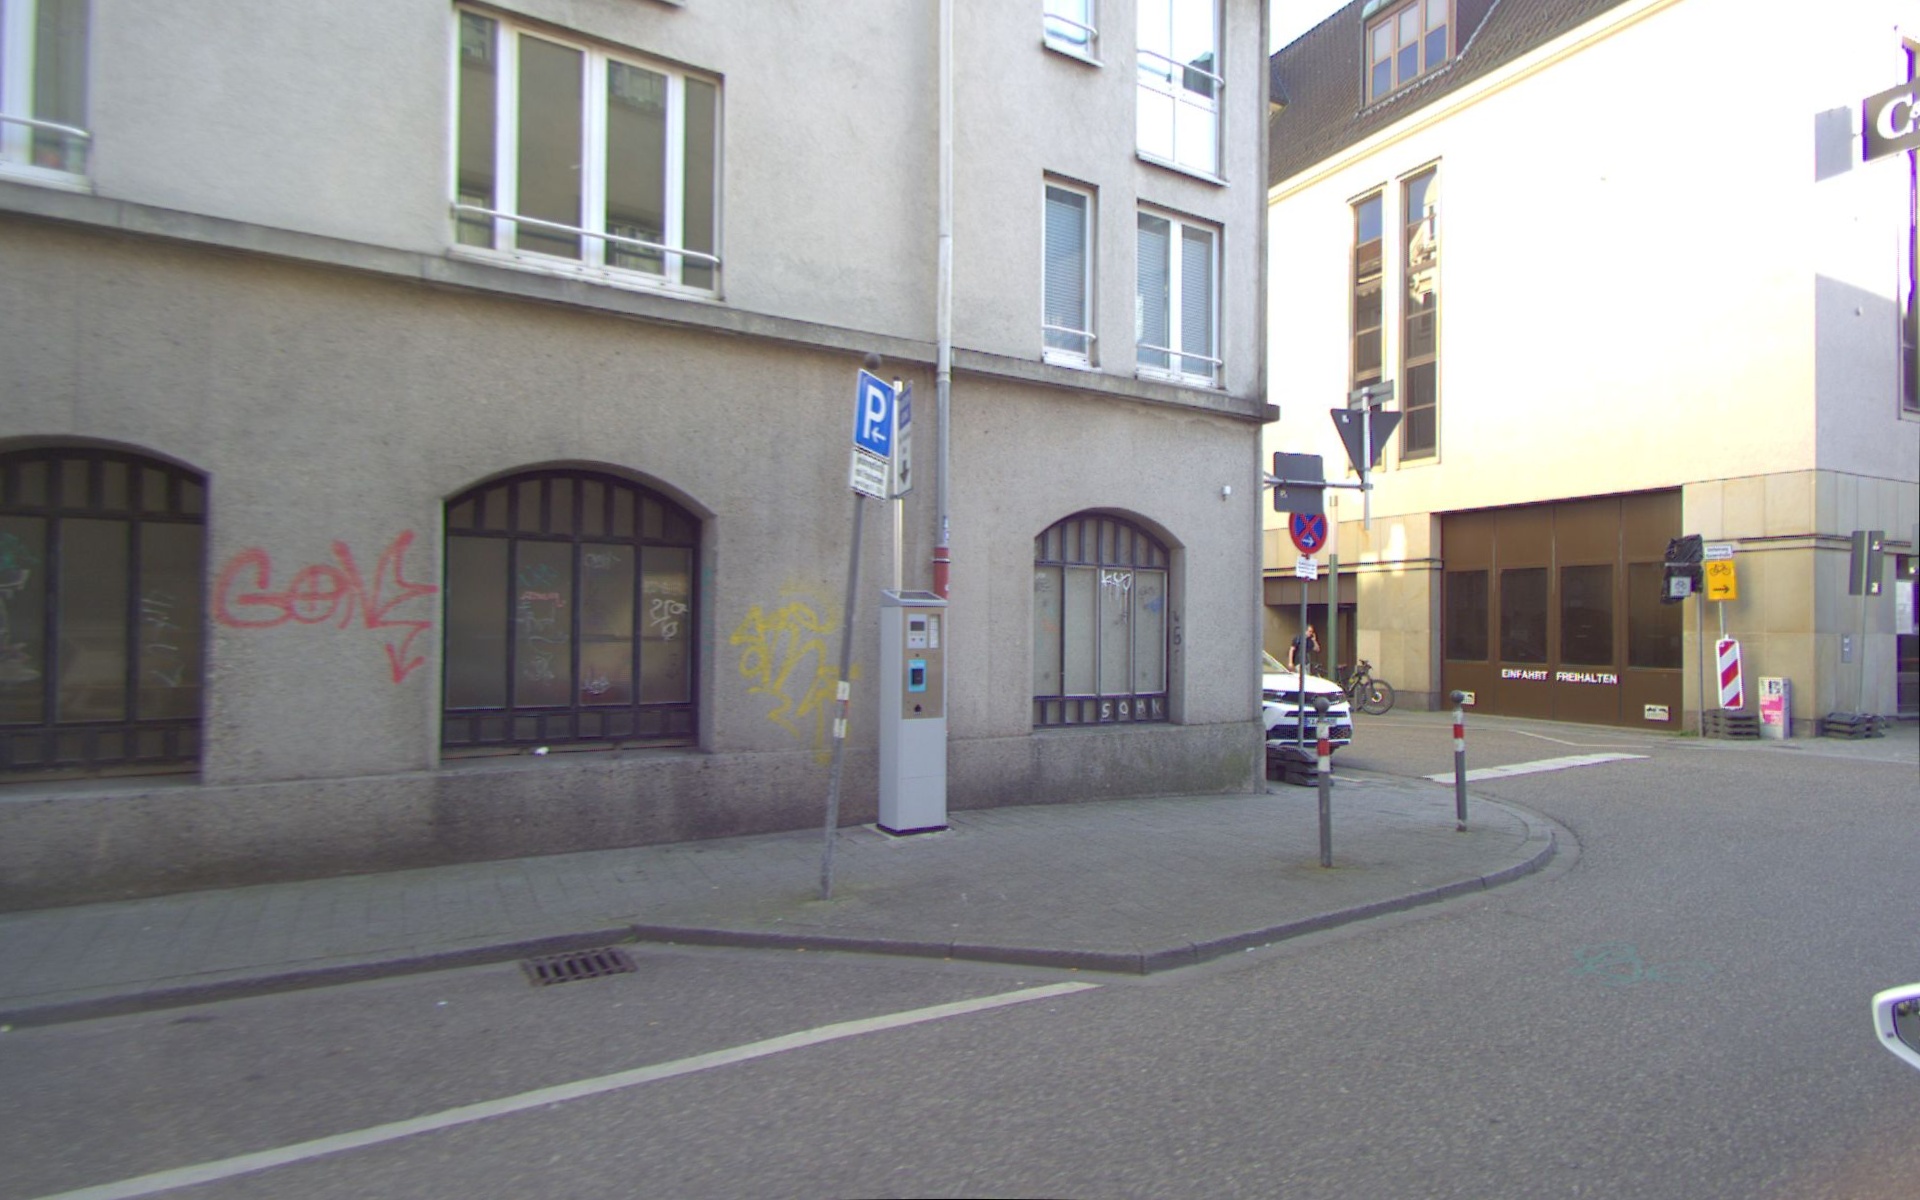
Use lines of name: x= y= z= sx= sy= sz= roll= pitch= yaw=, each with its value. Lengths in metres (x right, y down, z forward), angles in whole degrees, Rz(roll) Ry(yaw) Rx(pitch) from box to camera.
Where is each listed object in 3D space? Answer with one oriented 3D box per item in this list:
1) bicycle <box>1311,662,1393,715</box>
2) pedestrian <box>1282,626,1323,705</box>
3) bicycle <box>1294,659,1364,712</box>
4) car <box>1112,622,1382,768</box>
bicycle: x=7.963 y=1.783 z=20.464 sx=0.223 sy=0.978 sz=1.681 roll=1 pitch=-1 yaw=-39
pedestrian: x=7.683 y=1.450 z=22.536 sx=0.681 sy=1.725 sz=0.663 roll=0 pitch=-1 yaw=37
bicycle: x=7.756 y=1.782 z=21.176 sx=0.268 sy=1.017 sz=1.472 roll=1 pitch=-1 yaw=-37
car: x=3.709 y=1.175 z=13.763 sx=1.734 sy=1.677 sz=3.987 roll=1 pitch=-2 yaw=-16
